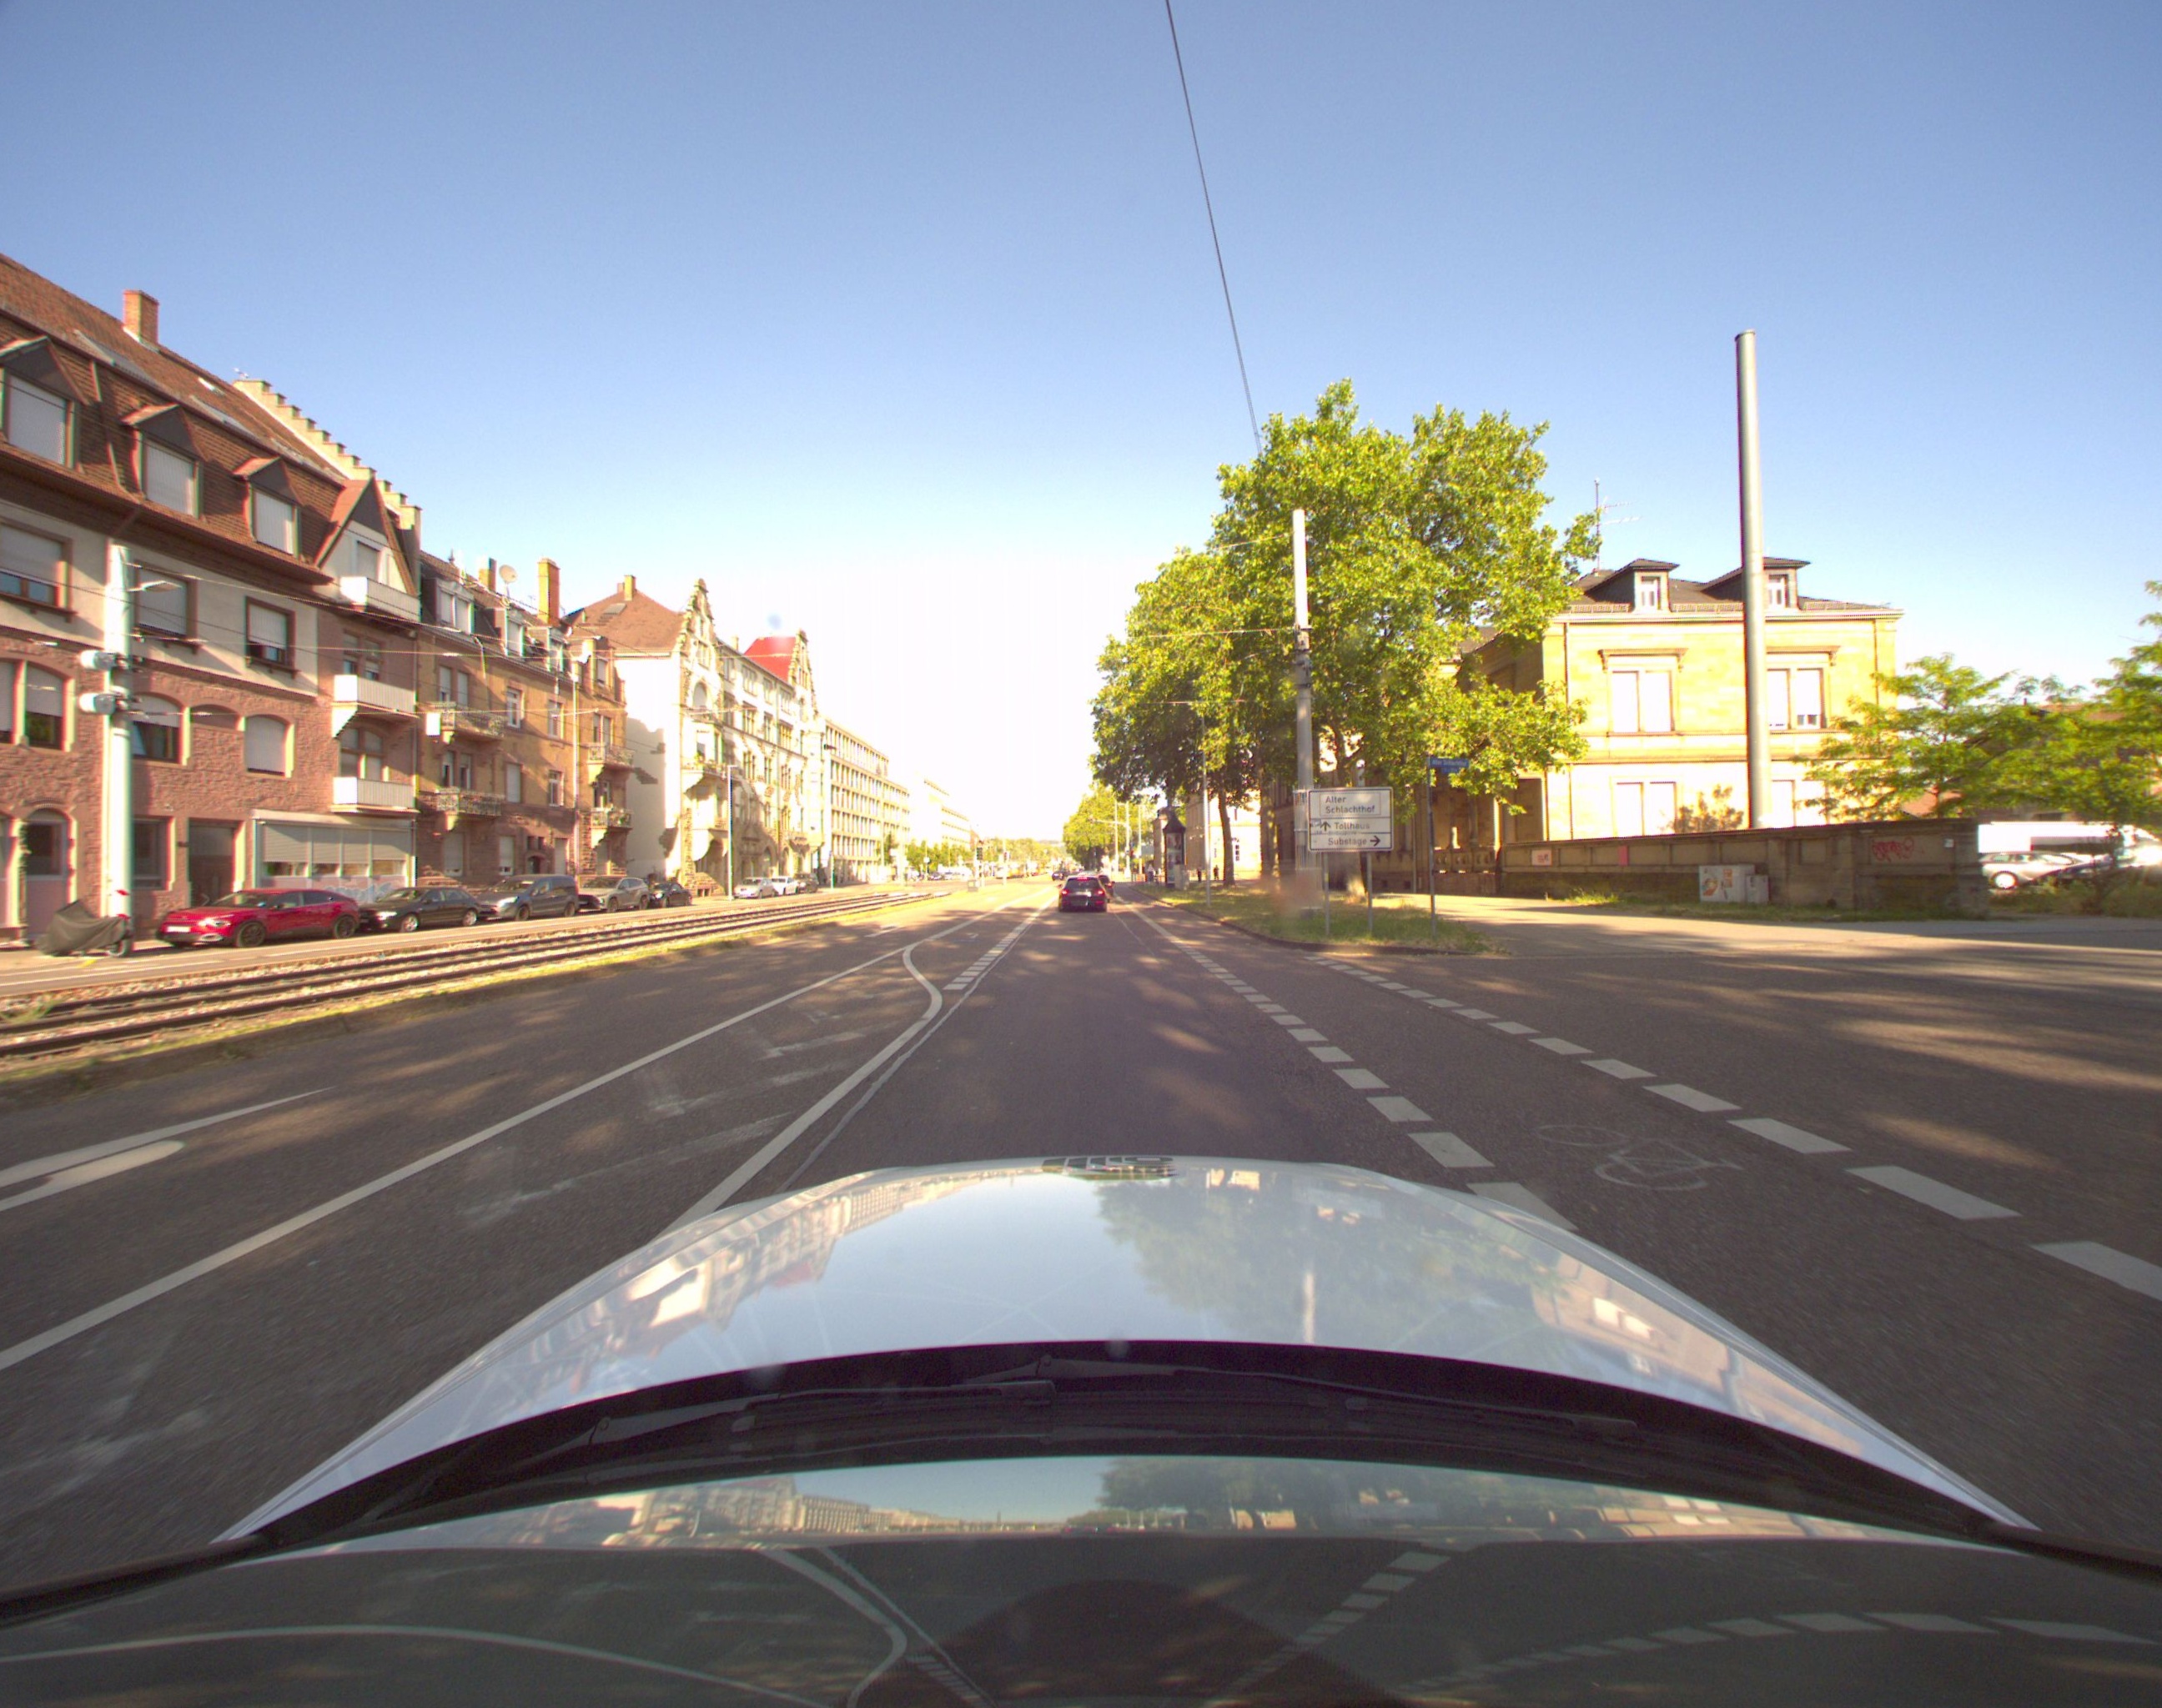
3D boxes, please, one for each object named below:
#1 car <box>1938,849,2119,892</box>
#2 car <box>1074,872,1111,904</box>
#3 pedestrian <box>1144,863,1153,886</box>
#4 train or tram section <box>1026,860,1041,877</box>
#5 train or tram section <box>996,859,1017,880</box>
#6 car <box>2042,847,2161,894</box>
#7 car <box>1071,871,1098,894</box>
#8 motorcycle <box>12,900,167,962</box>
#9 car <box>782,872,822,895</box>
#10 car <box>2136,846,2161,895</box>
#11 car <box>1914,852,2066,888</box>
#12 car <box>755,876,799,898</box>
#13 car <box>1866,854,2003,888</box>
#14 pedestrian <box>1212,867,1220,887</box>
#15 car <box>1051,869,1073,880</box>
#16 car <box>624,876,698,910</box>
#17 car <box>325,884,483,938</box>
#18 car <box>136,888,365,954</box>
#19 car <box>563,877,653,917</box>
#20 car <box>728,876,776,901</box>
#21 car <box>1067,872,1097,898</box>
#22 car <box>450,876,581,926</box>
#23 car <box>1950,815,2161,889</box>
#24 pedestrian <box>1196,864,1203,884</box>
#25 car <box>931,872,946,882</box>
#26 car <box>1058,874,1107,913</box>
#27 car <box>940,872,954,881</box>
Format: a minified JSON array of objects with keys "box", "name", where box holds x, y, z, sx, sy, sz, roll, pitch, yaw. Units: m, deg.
[{"box":[35.894,0.650,30.996,4.078,1.510,1.809,-1,-2,22],"name":"car"},{"box":[0.604,1.727,42.105,1.788,1.510,4.000,-2,-1,0],"name":"car"},{"box":[5.099,1.535,61.752,0.584,1.728,0.652,0,-1,12],"name":"pedestrian"},{"box":[-10.216,3.081,174.772,2.818,3.451,9.056,-1,-1,-2],"name":"train or tram section"},{"box":[-13.057,2.681,143.089,2.816,3.451,9.062,-1,-1,0],"name":"train or tram section"},{"box":[35.874,0.556,27.460,4.078,1.510,1.809,-1,-2,22],"name":"car"},{"box":[0.265,1.969,57.352,1.788,1.510,4.000,-2,-1,0],"name":"car"},{"box":[-22.570,1.744,18.594,2.072,1.327,0.836,2,-1,-16],"name":"motorcycle"},{"box":[-22.724,2.385,66.513,1.789,1.719,4.182,2,-1,-1],"name":"car"},{"box":[35.752,0.472,24.769,4.078,1.510,1.809,-1,-2,22],"name":"car"},{"box":[40.218,0.741,36.151,4.078,1.510,1.809,-1,-2,22],"name":"car"},{"box":[-22.651,2.416,60.830,1.789,1.510,4.182,2,-1,-1],"name":"car"},{"box":[40.505,0.824,38.760,4.078,1.510,1.809,-1,-2,22],"name":"car"},{"box":[11.700,2.016,70.470,0.584,1.728,0.652,0,-1,14],"name":"pedestrian"},{"box":[-2.558,2.775,110.902,1.779,1.510,4.019,0,-2,19],"name":"car"},{"box":[-22.179,2.037,43.216,1.681,1.652,4.198,2,-1,0],"name":"car"},{"box":[-22.124,1.800,26.847,1.788,1.510,3.999,2,-1,0],"name":"car"},{"box":[-22.264,1.729,22.121,1.789,1.460,4.264,2,-1,-1],"name":"car"},{"box":[-22.037,1.952,38.133,1.681,1.652,4.198,2,-1,0],"name":"car"},{"box":[-22.354,2.339,55.464,1.791,1.510,3.993,2,-1,-4],"name":"car"},{"box":[0.084,1.932,51.577,1.788,1.510,4.000,-2,-1,0],"name":"car"},{"box":[-22.058,1.771,32.032,1.787,1.754,4.458,2,-1,3],"name":"car"},{"box":[39.292,-0.019,32.967,5.296,2.807,1.809,-1,-2,22],"name":"car"},{"box":[10.298,1.741,70.613,0.584,1.728,0.652,0,-1,12],"name":"pedestrian"},{"box":[-23.217,3.704,132.522,1.790,1.510,3.996,-1,-1,-2],"name":"car"},{"box":[0.041,1.539,32.681,1.828,1.391,4.157,-1,-1,-1],"name":"car"},{"box":[-22.965,3.856,139.638,1.790,1.510,3.996,-1,-1,-2],"name":"car"}]
